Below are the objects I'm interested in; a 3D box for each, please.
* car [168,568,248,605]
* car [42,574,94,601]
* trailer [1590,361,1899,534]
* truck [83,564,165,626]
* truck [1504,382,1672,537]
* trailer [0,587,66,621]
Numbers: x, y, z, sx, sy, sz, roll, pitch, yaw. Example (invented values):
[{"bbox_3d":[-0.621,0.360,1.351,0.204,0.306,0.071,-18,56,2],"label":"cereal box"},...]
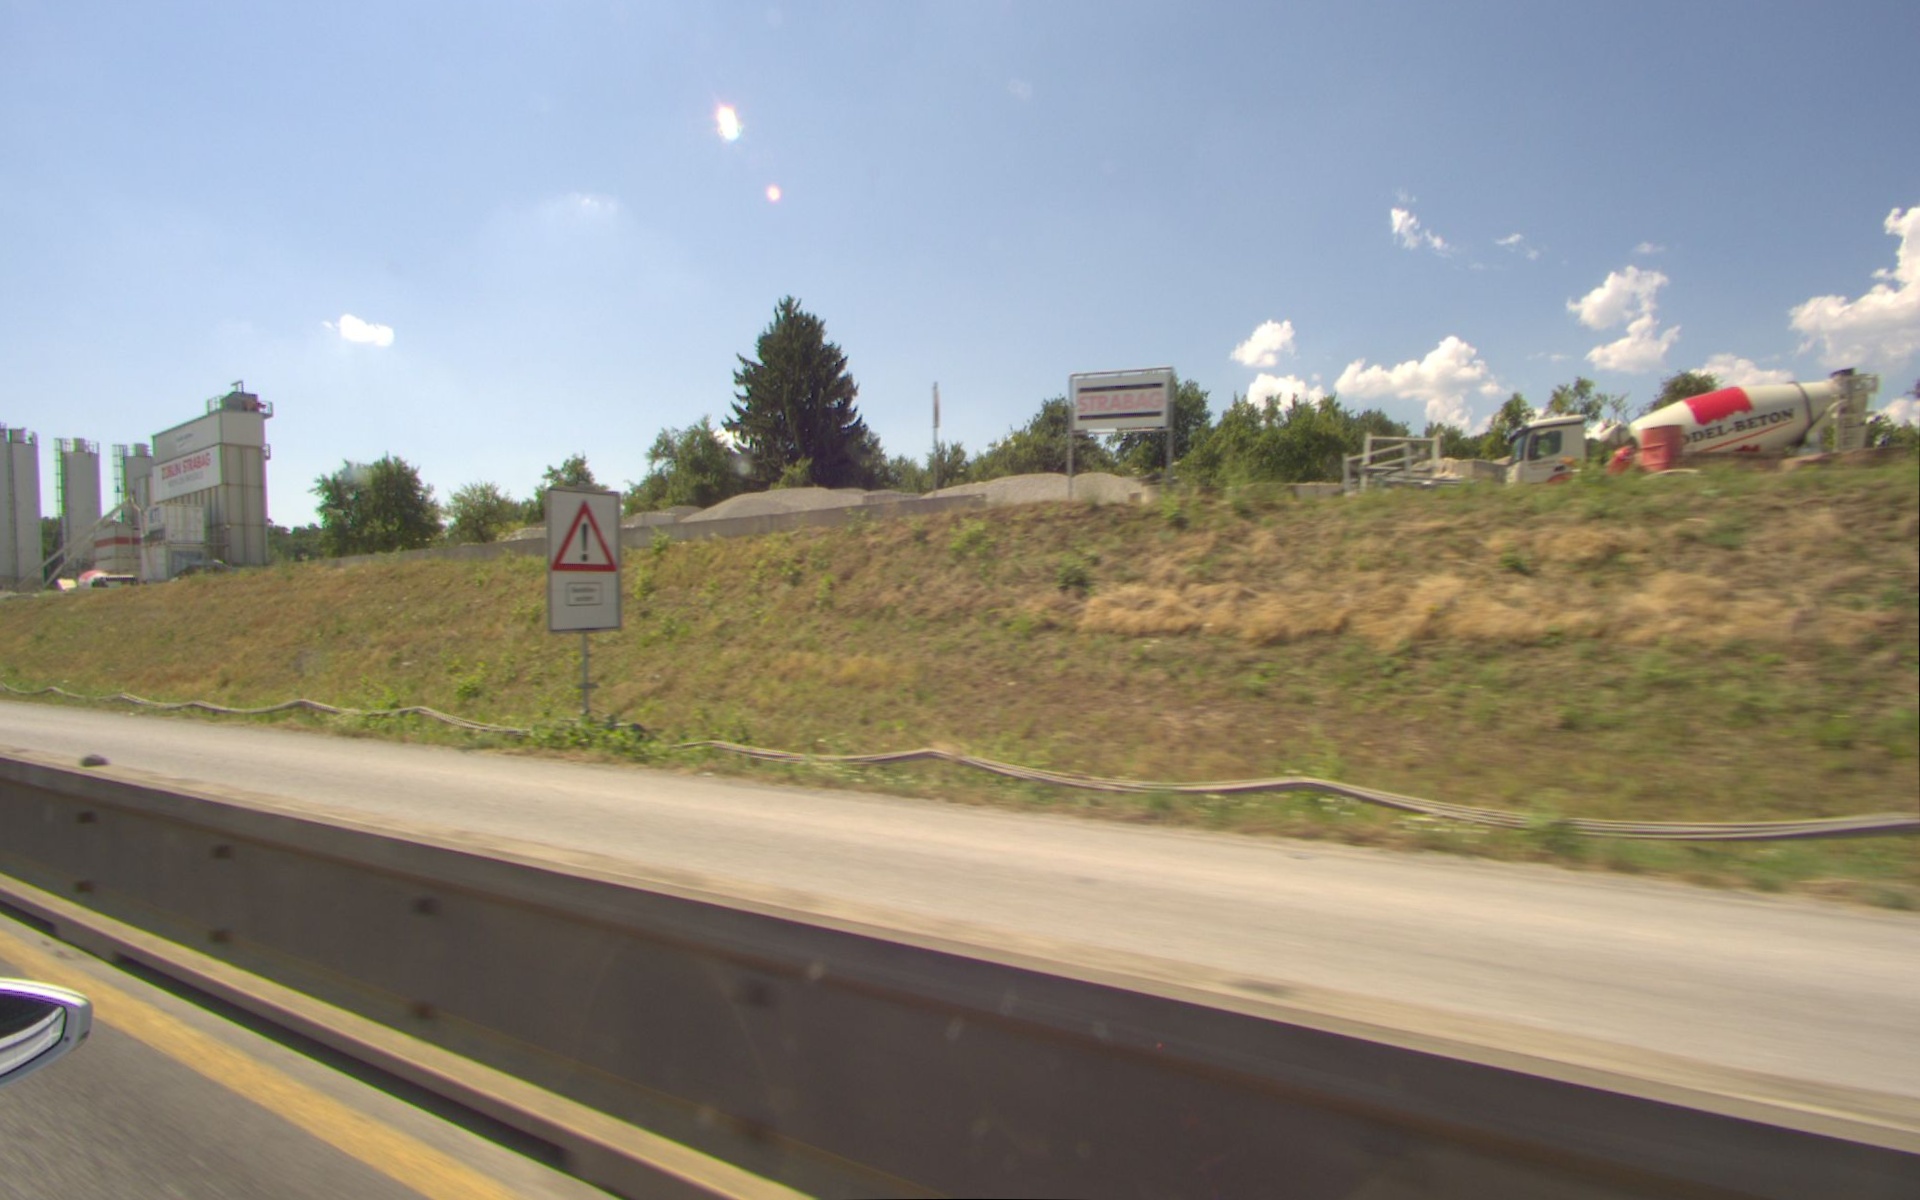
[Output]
[{"bbox_3d":[-44.382,-0.745,59.092,4.922,2.040,2.218,-1,0,33],"label":"car"},{"bbox_3d":[-70.009,-0.955,78.590,4.365,2.040,1.989,-1,0,33],"label":"car"},{"bbox_3d":[22.641,-4.248,29.424,6.634,4.168,2.757,-1,0,24],"label":"trailer"},{"bbox_3d":[-62.595,-0.290,74.869,9.817,4.353,3.417,-1,0,42],"label":"truck"},{"bbox_3d":[19.246,-4.185,30.970,4.032,4.149,2.746,0,0,24],"label":"truck"},{"bbox_3d":[-92.550,0.393,96.530,3.272,3.271,9.011,0,-1,18],"label":"trailer"}]
